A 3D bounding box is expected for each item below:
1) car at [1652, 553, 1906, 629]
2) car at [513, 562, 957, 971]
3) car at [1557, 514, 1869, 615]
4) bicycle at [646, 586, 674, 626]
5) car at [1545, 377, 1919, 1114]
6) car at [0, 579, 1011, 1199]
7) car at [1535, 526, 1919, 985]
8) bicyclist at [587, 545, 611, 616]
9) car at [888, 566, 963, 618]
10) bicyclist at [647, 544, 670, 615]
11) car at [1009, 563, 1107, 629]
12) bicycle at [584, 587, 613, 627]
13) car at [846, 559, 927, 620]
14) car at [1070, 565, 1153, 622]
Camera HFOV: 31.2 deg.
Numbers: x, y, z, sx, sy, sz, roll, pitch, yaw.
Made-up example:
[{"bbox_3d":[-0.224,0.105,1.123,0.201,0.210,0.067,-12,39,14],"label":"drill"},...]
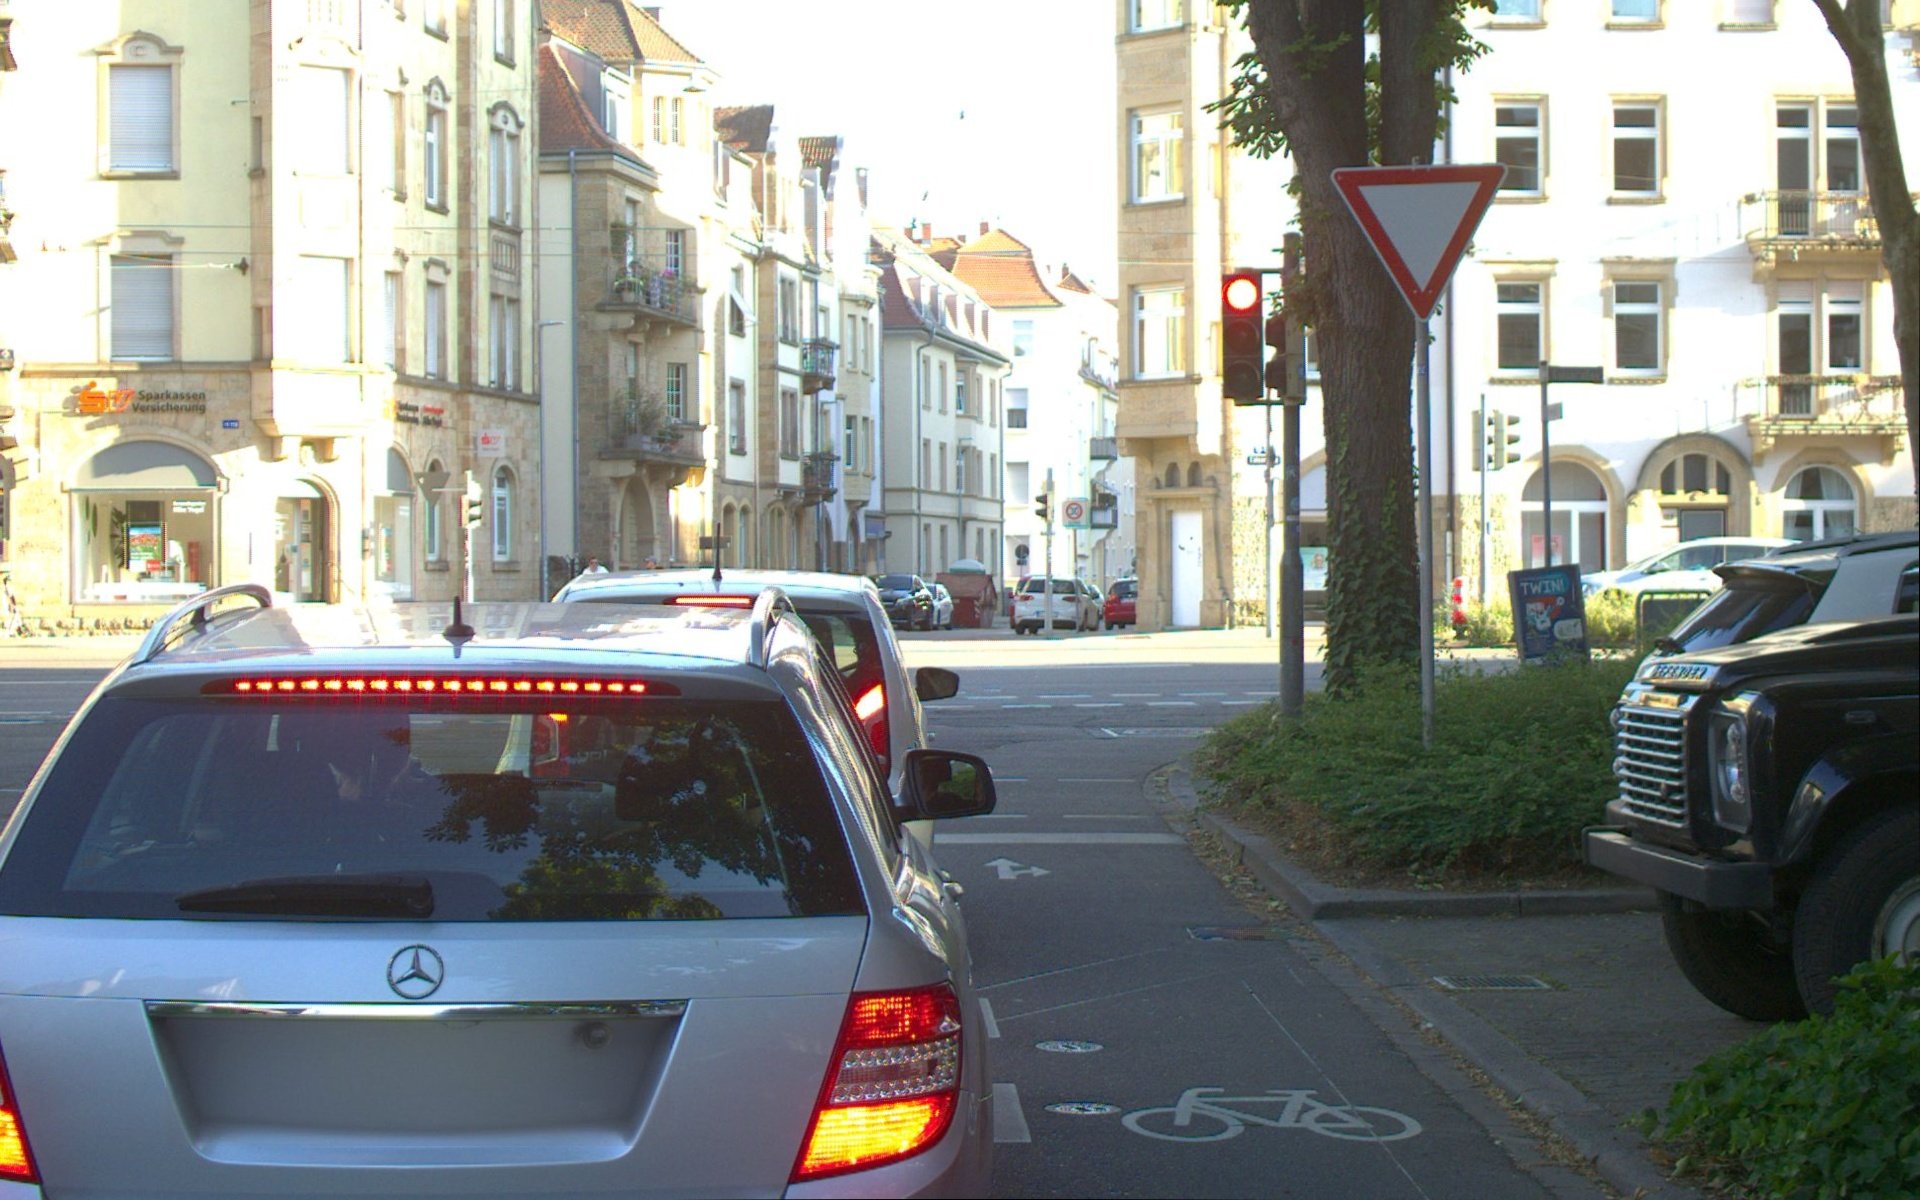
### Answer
[{"bbox_3d":[11.909,-0.136,50.084,3.364,1.065,1.380,0,1,-1],"label":"car"},{"bbox_3d":[-0.848,0.561,13.740,1.533,1.386,3.600,0,1,-2],"label":"car"},{"bbox_3d":[11.322,-0.550,51.856,4.285,1.457,1.787,0,2,-1],"label":"car"},{"bbox_3d":[-6.406,0.125,73.517,0.568,0.832,1.566,0,1,-4],"label":"bicycle"},{"bbox_3d":[4.190,0.300,10.183,4.490,1.949,1.793,-2,1,-3],"label":"car"},{"bbox_3d":[-0.880,0.702,6.470,1.690,1.424,3.493,1,1,-3],"label":"car"},{"bbox_3d":[4.139,0.499,13.064,3.480,1.580,1.711,-2,1,-6],"label":"car"},{"bbox_3d":[-7.702,-0.426,73.375,0.466,1.509,0.655,0,1,-4],"label":"bicyclist"},{"bbox_3d":[-1.067,-0.242,108.724,1.651,1.598,3.861,0,0,11],"label":"car"},{"bbox_3d":[-6.440,-0.438,73.553,0.466,1.516,0.694,0,1,-4],"label":"bicyclist"},{"bbox_3d":[2.471,-0.116,85.898,1.722,1.473,3.998,-2,1,12],"label":"car"},{"bbox_3d":[-7.699,0.144,73.246,0.568,0.832,1.566,0,1,-4],"label":"bicycle"},{"bbox_3d":[-2.171,-0.293,102.434,1.651,1.777,3.861,0,0,11],"label":"car"},{"bbox_3d":[4.524,-0.218,102.108,1.722,1.473,3.998,-4,1,12],"label":"car"}]
